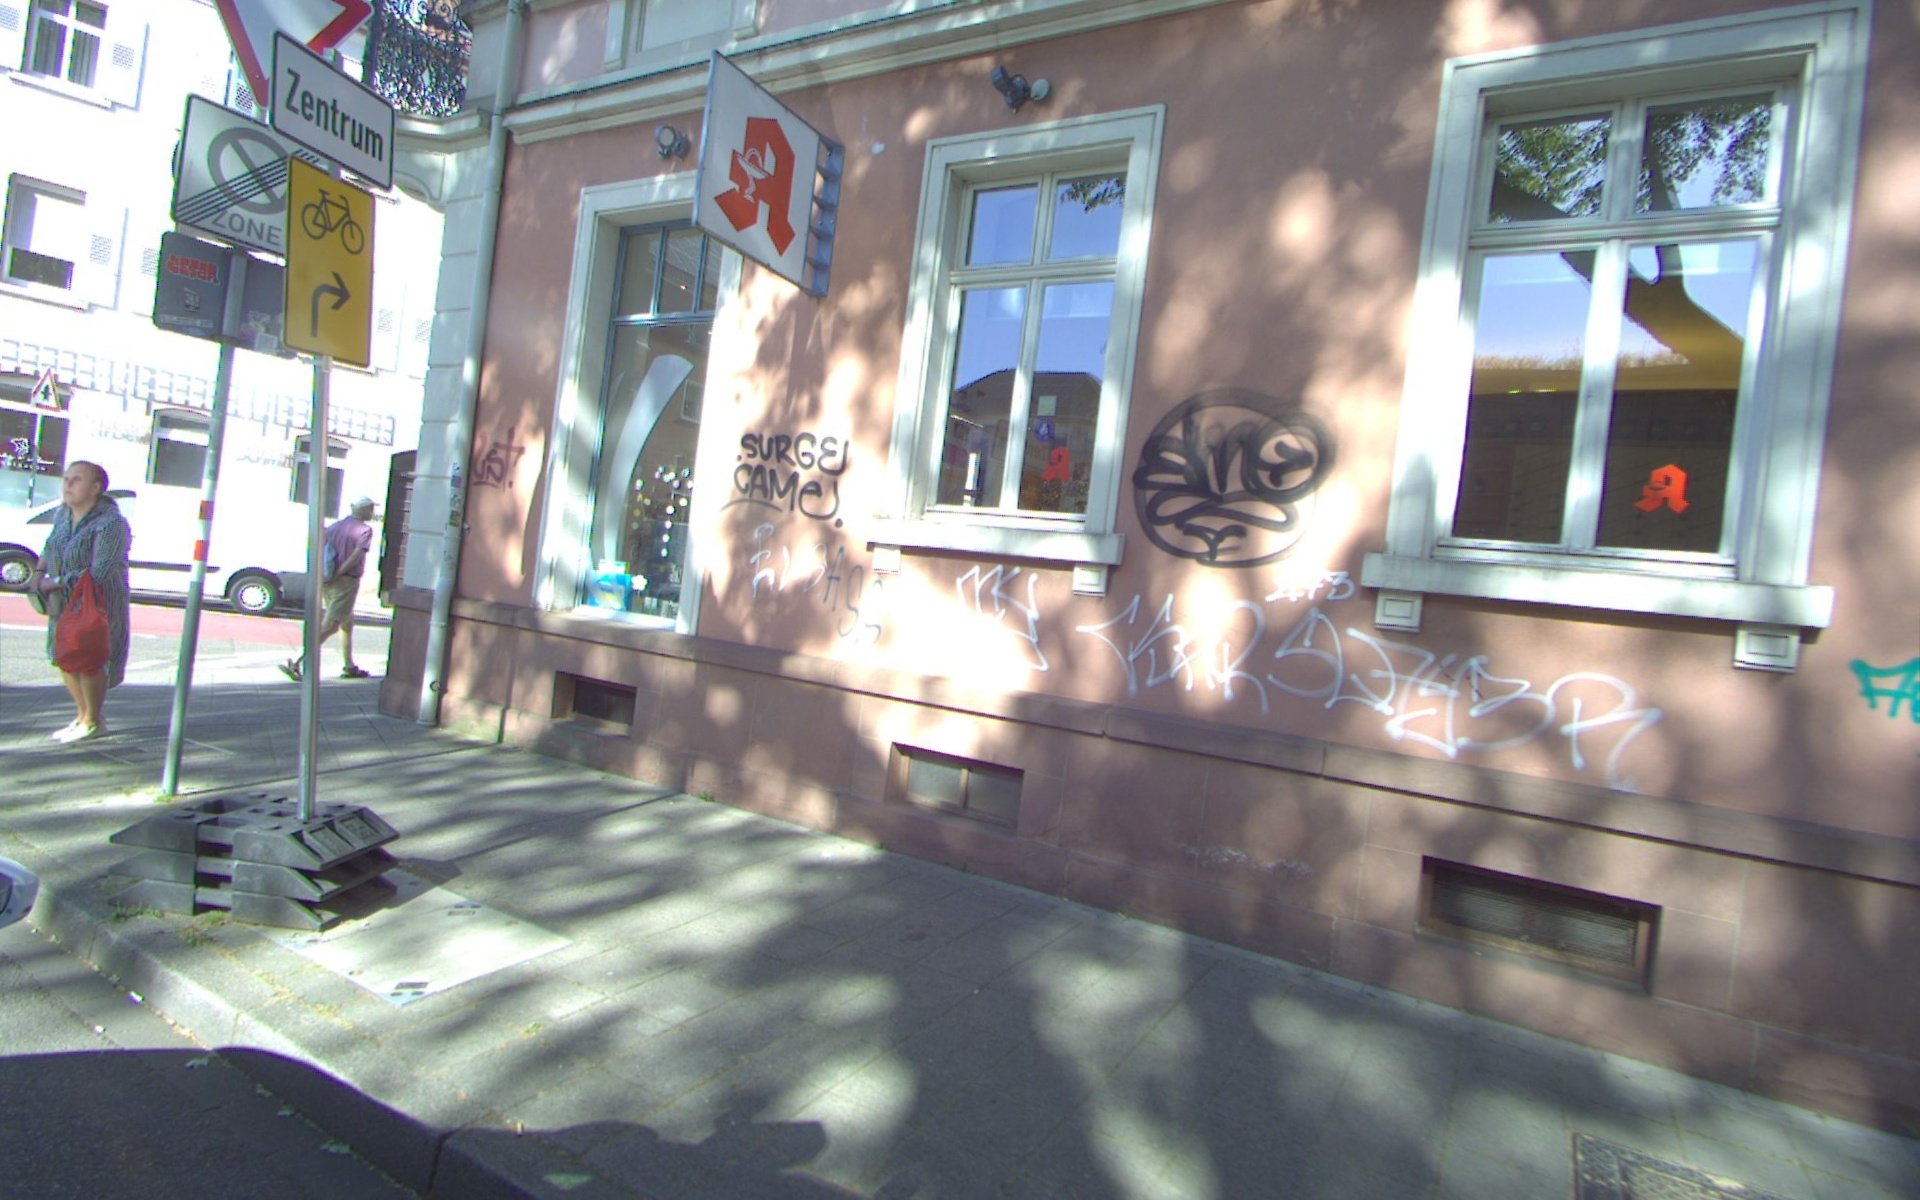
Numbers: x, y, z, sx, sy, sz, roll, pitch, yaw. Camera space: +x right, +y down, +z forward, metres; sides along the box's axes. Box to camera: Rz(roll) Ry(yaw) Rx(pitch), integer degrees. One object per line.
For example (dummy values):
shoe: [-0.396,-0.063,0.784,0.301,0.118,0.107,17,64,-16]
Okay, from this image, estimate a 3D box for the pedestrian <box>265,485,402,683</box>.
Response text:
pedestrian: [-5.954,-0.144,9.572,0.817,1.787,0.750,3,0,31]

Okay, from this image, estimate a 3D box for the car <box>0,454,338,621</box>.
car: [-13.140,-0.976,16.257,4.984,1.969,2.030,8,-1,-37]

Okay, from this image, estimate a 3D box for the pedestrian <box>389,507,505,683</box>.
pedestrian: [-5.163,-0.050,10.150,0.616,1.689,0.835,2,2,31]

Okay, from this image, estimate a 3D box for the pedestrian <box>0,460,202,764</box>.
pedestrian: [-5.087,0.034,5.847,0.832,1.596,0.843,6,5,31]
